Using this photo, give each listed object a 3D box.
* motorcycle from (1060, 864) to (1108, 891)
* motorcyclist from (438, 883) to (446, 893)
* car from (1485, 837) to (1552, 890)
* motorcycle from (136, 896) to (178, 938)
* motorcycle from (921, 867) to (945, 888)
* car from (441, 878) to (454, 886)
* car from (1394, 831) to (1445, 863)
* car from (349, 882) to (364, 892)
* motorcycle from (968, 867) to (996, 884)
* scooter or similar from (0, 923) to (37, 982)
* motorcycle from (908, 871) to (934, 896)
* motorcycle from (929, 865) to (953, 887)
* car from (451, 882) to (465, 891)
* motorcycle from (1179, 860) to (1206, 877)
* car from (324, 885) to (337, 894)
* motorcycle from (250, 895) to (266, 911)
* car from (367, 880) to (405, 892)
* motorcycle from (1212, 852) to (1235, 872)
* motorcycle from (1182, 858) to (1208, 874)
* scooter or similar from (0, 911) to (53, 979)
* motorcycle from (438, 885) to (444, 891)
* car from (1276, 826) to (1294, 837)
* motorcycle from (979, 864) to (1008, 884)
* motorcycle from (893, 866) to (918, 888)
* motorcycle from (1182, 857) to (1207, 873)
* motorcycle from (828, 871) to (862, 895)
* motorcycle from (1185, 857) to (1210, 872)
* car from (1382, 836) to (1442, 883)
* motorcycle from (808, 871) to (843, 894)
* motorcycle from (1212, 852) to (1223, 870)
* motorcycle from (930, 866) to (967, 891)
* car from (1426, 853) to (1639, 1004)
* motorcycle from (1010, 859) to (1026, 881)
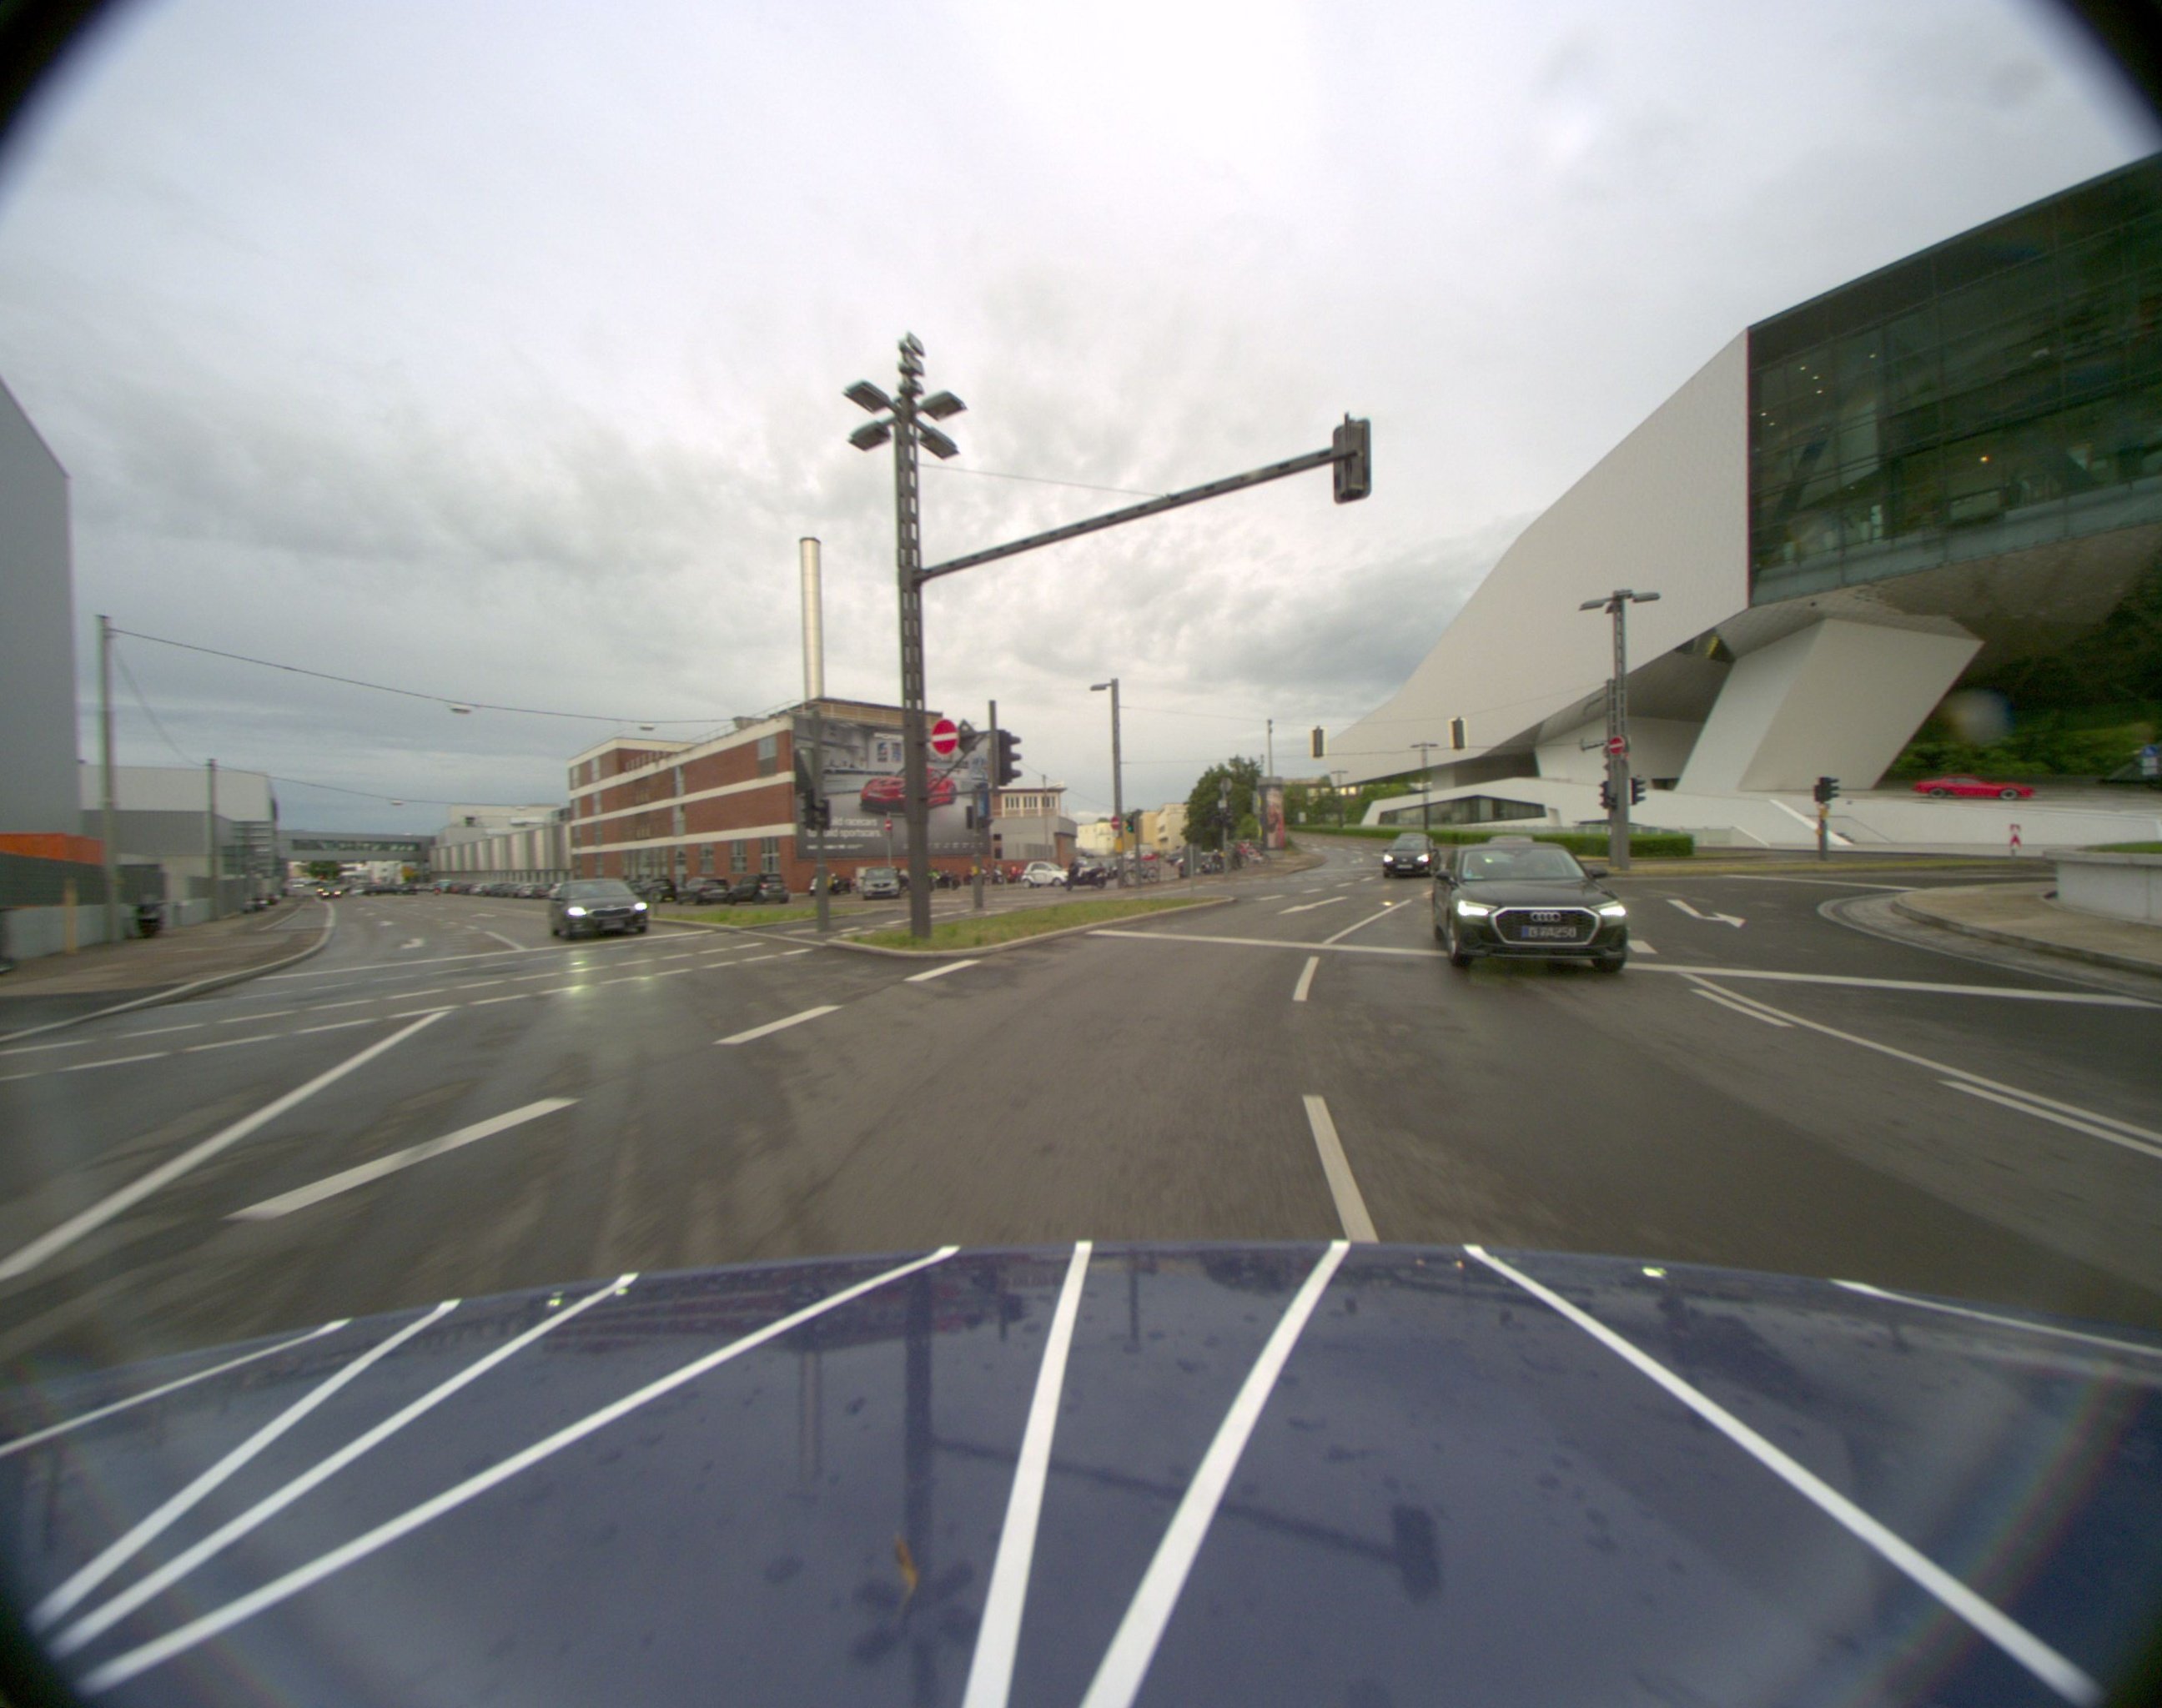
[{"bbox_3d":[0.127,1.042,33.610,2.089,1.139,0.489,-2,3,30],"label":"motorcycle"},{"bbox_3d":[-92.445,4.920,109.895,0.736,1.366,1.016,-6,4,-42],"label":"motorcyclist"},{"bbox_3d":[14.907,0.270,25.880,1.813,1.431,4.308,-2,3,31],"label":"car"},{"bbox_3d":[-32.470,2.173,26.718,0.657,1.369,2.095,-3,0,-44],"label":"motorcycle"},{"bbox_3d":[-8.503,1.333,43.477,0.477,1.113,1.805,-6,3,-39],"label":"motorcycle"},{"bbox_3d":[-109.510,4.879,131.389,1.462,1.234,3.362,-6,3,-42],"label":"car"},{"bbox_3d":[18.339,-0.413,41.350,1.747,1.466,4.071,-3,2,14],"label":"car"},{"bbox_3d":[-117.285,5.339,122.945,3.989,1.550,1.617,-2,1,45],"label":"car"},{"bbox_3d":[-6.123,1.312,47.017,1.613,0.968,0.542,-3,3,25],"label":"motorcycle"},{"bbox_3d":[-19.433,1.782,13.407,0.385,1.023,1.269,-3,0,-11],"label":"scooter or similar"},{"bbox_3d":[-7.799,1.406,36.933,0.496,1.140,1.719,-6,3,-35],"label":"motorcycle"},{"bbox_3d":[-8.248,1.269,44.681,0.546,1.231,1.802,-3,1,-41],"label":"motorcycle"},{"bbox_3d":[-97.149,5.002,118.455,1.462,1.234,3.362,-6,3,-42],"label":"car"},{"bbox_3d":[7.089,0.928,48.361,1.615,0.917,0.482,-4,3,2],"label":"motorcycle"},{"bbox_3d":[-143.146,6.703,144.914,3.989,1.550,1.617,-2,1,45],"label":"car"},{"bbox_3d":[-63.380,3.770,58.544,0.567,1.069,1.922,-3,1,-40],"label":"motorcycle"},{"bbox_3d":[-103.536,4.727,113.177,1.610,1.550,4.007,-2,1,42],"label":"car"},{"bbox_3d":[7.329,0.410,39.049,0.546,0.890,1.747,-1,3,32],"label":"motorcycle"},{"bbox_3d":[7.663,0.787,50.939,1.616,0.917,0.421,-4,3,-3],"label":"motorcycle"},{"bbox_3d":[-20.489,1.737,14.558,0.426,1.192,1.267,-3,0,-30],"label":"scooter or similar"},{"bbox_3d":[-92.442,4.900,109.763,0.567,0.666,2.220,-6,3,-42],"label":"motorcycle"},{"bbox_3d":[30.952,-3.417,115.170,1.816,1.430,4.303,-1,0,4],"label":"car"},{"bbox_3d":[-5.539,1.253,48.079,1.717,1.146,0.586,-3,3,25],"label":"motorcycle"},{"bbox_3d":[-9.913,1.273,42.854,0.545,1.174,1.708,-6,3,-41],"label":"motorcycle"},{"bbox_3d":[7.810,0.751,52.226,1.616,0.917,0.421,-4,3,-5],"label":"motorcycle"},{"bbox_3d":[-12.641,1.560,40.717,1.604,1.114,0.543,-6,3,-37],"label":"motorcycle"},{"bbox_3d":[8.128,0.701,53.060,1.616,0.917,0.421,-4,3,-5],"label":"motorcycle"},{"bbox_3d":[12.762,0.153,29.166,1.690,1.499,4.016,-2,2,29],"label":"car"},{"bbox_3d":[-13.835,1.543,41.165,1.650,1.105,0.543,-6,3,-37],"label":"motorcycle"},{"bbox_3d":[7.305,0.352,40.651,0.433,0.885,1.265,-2,3,16],"label":"motorcycle"},{"bbox_3d":[-6.921,1.276,39.736,1.868,1.105,0.543,-6,4,-44],"label":"motorcycle"},{"bbox_3d":[5.845,0.791,10.399,1.754,1.509,4.400,0,1,21],"label":"car"},{"bbox_3d":[-4.179,1.063,50.483,0.523,1.326,1.670,-3,3,9],"label":"motorcycle"}]
